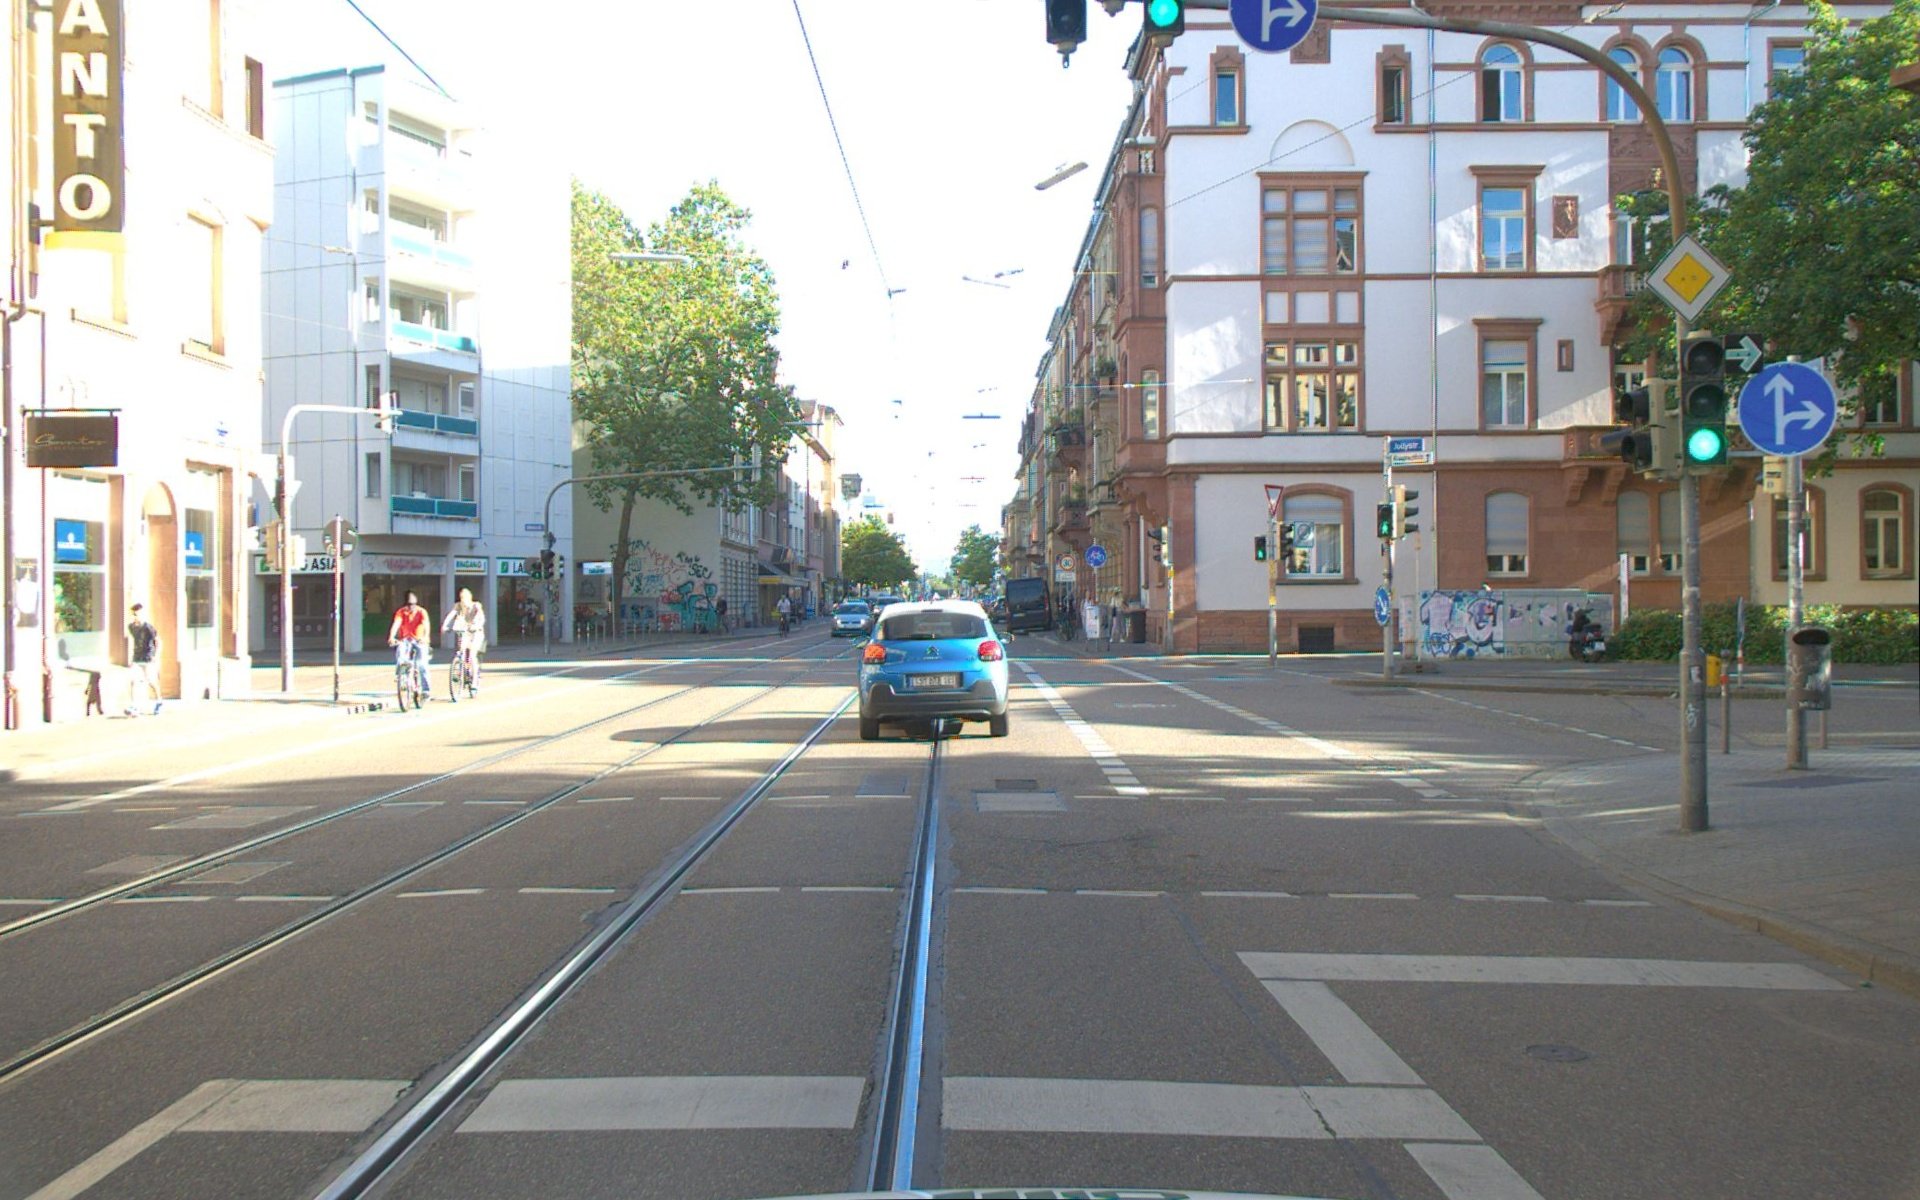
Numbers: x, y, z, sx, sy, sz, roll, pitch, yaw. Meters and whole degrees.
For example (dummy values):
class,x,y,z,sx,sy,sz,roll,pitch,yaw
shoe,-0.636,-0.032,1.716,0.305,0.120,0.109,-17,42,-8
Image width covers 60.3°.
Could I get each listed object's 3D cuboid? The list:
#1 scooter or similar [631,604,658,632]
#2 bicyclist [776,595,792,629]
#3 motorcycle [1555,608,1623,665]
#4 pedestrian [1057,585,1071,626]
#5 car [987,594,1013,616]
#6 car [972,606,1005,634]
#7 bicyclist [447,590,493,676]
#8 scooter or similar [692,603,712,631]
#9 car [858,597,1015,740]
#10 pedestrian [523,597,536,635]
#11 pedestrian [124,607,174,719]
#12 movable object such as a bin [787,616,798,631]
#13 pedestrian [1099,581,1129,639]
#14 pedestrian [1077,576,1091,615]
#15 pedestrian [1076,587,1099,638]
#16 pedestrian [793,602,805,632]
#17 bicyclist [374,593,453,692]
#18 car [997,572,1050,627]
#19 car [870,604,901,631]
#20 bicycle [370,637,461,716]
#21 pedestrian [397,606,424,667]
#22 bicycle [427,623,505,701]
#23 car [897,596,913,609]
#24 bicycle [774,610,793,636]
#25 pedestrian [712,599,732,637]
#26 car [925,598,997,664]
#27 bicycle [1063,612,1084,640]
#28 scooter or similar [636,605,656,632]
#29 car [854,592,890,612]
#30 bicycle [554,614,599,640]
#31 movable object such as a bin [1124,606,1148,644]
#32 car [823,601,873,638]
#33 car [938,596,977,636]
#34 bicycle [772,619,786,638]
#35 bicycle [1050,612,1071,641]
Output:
class,x,y,z,sx,sy,sz,roll,pitch,yaw
scooter or similar,-14.698,0.819,77.021,1.206,1.280,0.765,-1,0,-13
bicyclist,-7.966,0.526,74.905,0.668,1.509,0.778,-1,0,-2
motorcycle,14.292,0.807,37.645,0.598,1.144,2.390,-1,2,-1
pedestrian,5.132,0.266,81.605,0.573,2.049,0.823,0,0,-2
car,3.166,0.392,129.949,1.964,1.702,4.392,-1,0,2
car,1.819,1.287,106.047,1.965,1.702,4.805,-1,0,-1
bicyclist,-8.106,0.544,27.387,0.578,1.400,0.679,0,0,-2
scooter or similar,-12.243,0.806,78.384,0.772,1.294,1.074,2,1,-2
car,-0.368,0.724,19.631,1.641,1.503,3.997,-1,0,-4
pedestrian,-19.907,0.729,76.516,0.446,1.748,0.547,-1,0,-2
pedestrian,-10.503,0.807,21.418,0.395,1.435,0.516,-1,0,-2
movable object such as a bin,-10.221,1.436,101.181,0.598,0.930,0.695,-1,0,-1
pedestrian,5.068,0.318,54.426,0.691,1.812,0.672,-7,0,-2
pedestrian,5.816,-0.229,77.571,0.542,1.813,0.606,0,0,-2
pedestrian,4.359,0.438,56.576,0.615,1.731,0.681,-1,0,-10
pedestrian,-9.794,1.050,100.496,0.696,1.795,0.570,-1,0,-2
bicyclist,-8.056,0.609,24.433,0.720,1.405,1.468,0,0,-2
car,2.957,-0.029,78.693,2.225,2.479,5.719,0,0,-1
car,-4.963,1.155,110.337,1.953,1.774,4.561,0,0,-2
bicycle,-8.041,1.110,24.511,0.716,1.084,2.061,0,0,-2
pedestrian,-14.261,0.950,42.942,0.531,1.579,0.516,0,0,-2
bicycle,-8.120,0.993,27.264,0.716,1.204,2.061,0,0,-2
car,-7.185,0.361,216.629,1.953,1.680,3.999,-1,0,-2
bicycle,-7.973,1.022,74.893,0.678,1.140,2.083,-1,0,-1
pedestrian,-11.184,0.834,77.713,0.668,1.796,1.026,-1,0,10
car,-0.022,0.726,40.334,1.633,1.504,3.999,-1,0,-2
bicycle,3.999,0.920,58.348,0.423,0.964,1.760,-1,0,-8
scooter or similar,-14.828,0.858,78.085,0.921,1.243,0.765,-1,0,-13
car,-11.636,0.248,219.076,4.256,2.626,2.191,-1,0,-27
bicycle,-16.358,1.152,70.501,1.878,1.052,0.665,-1,0,26
movable object such as a bin,5.607,0.797,52.744,0.652,1.174,0.594,-1,0,-3
car,-4.846,0.831,71.859,1.945,1.528,4.307,-1,0,-1
car,-0.154,0.822,87.594,1.953,2.049,3.999,-1,0,-2
bicycle,-11.548,1.797,105.378,0.610,1.180,2.058,-1,0,-13
bicycle,3.528,0.926,58.274,0.423,0.964,1.760,-1,0,-8
